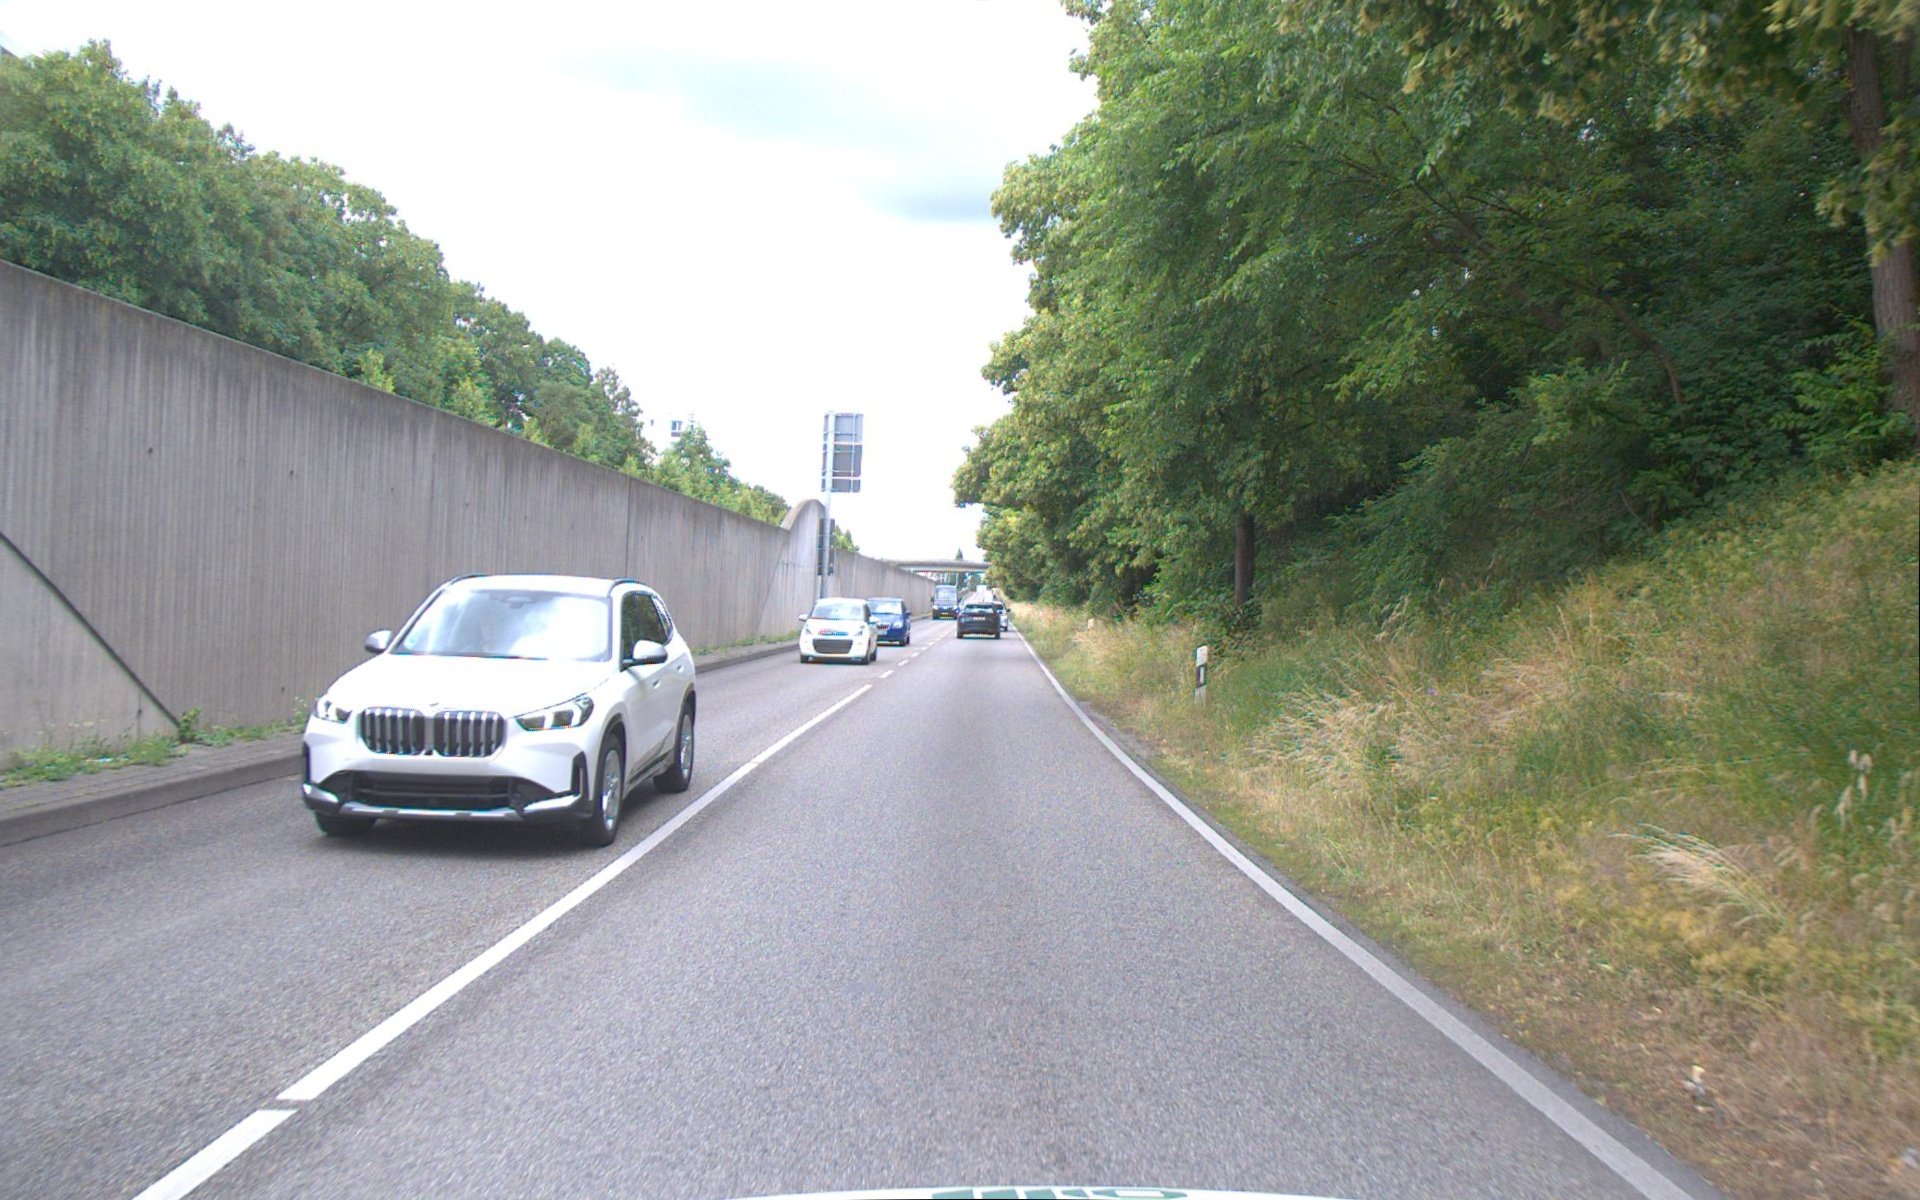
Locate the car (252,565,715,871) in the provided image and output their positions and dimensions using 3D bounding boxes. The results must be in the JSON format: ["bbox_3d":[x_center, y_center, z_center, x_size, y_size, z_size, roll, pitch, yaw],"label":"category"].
[{"bbox_3d":[-2.996,0.655,11.471,1.851,1.660,4.426,2,0,0],"label":"car"}]

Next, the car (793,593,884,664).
[{"bbox_3d":[-2.810,0.627,39.086,1.876,1.522,4.207,2,0,-1],"label":"car"}]

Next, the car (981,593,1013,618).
[{"bbox_3d":[2.397,0.359,108.140,1.829,1.516,4.256,4,0,-1],"label":"car"}]

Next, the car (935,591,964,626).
[{"bbox_3d":[-0.785,0.638,129.867,2.066,2.676,7.418,1,0,1],"label":"car"}]

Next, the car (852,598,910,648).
[{"bbox_3d":[-2.545,0.711,54.228,1.732,1.522,4.207,2,0,-1],"label":"car"}]

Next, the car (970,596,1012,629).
[{"bbox_3d":[1.550,0.665,83.878,1.720,1.550,4.032,1,-2,-5],"label":"car"}]

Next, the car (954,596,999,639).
[{"bbox_3d":[0.644,0.742,66.676,1.718,1.550,4.035,2,-2,0],"label":"car"}]
